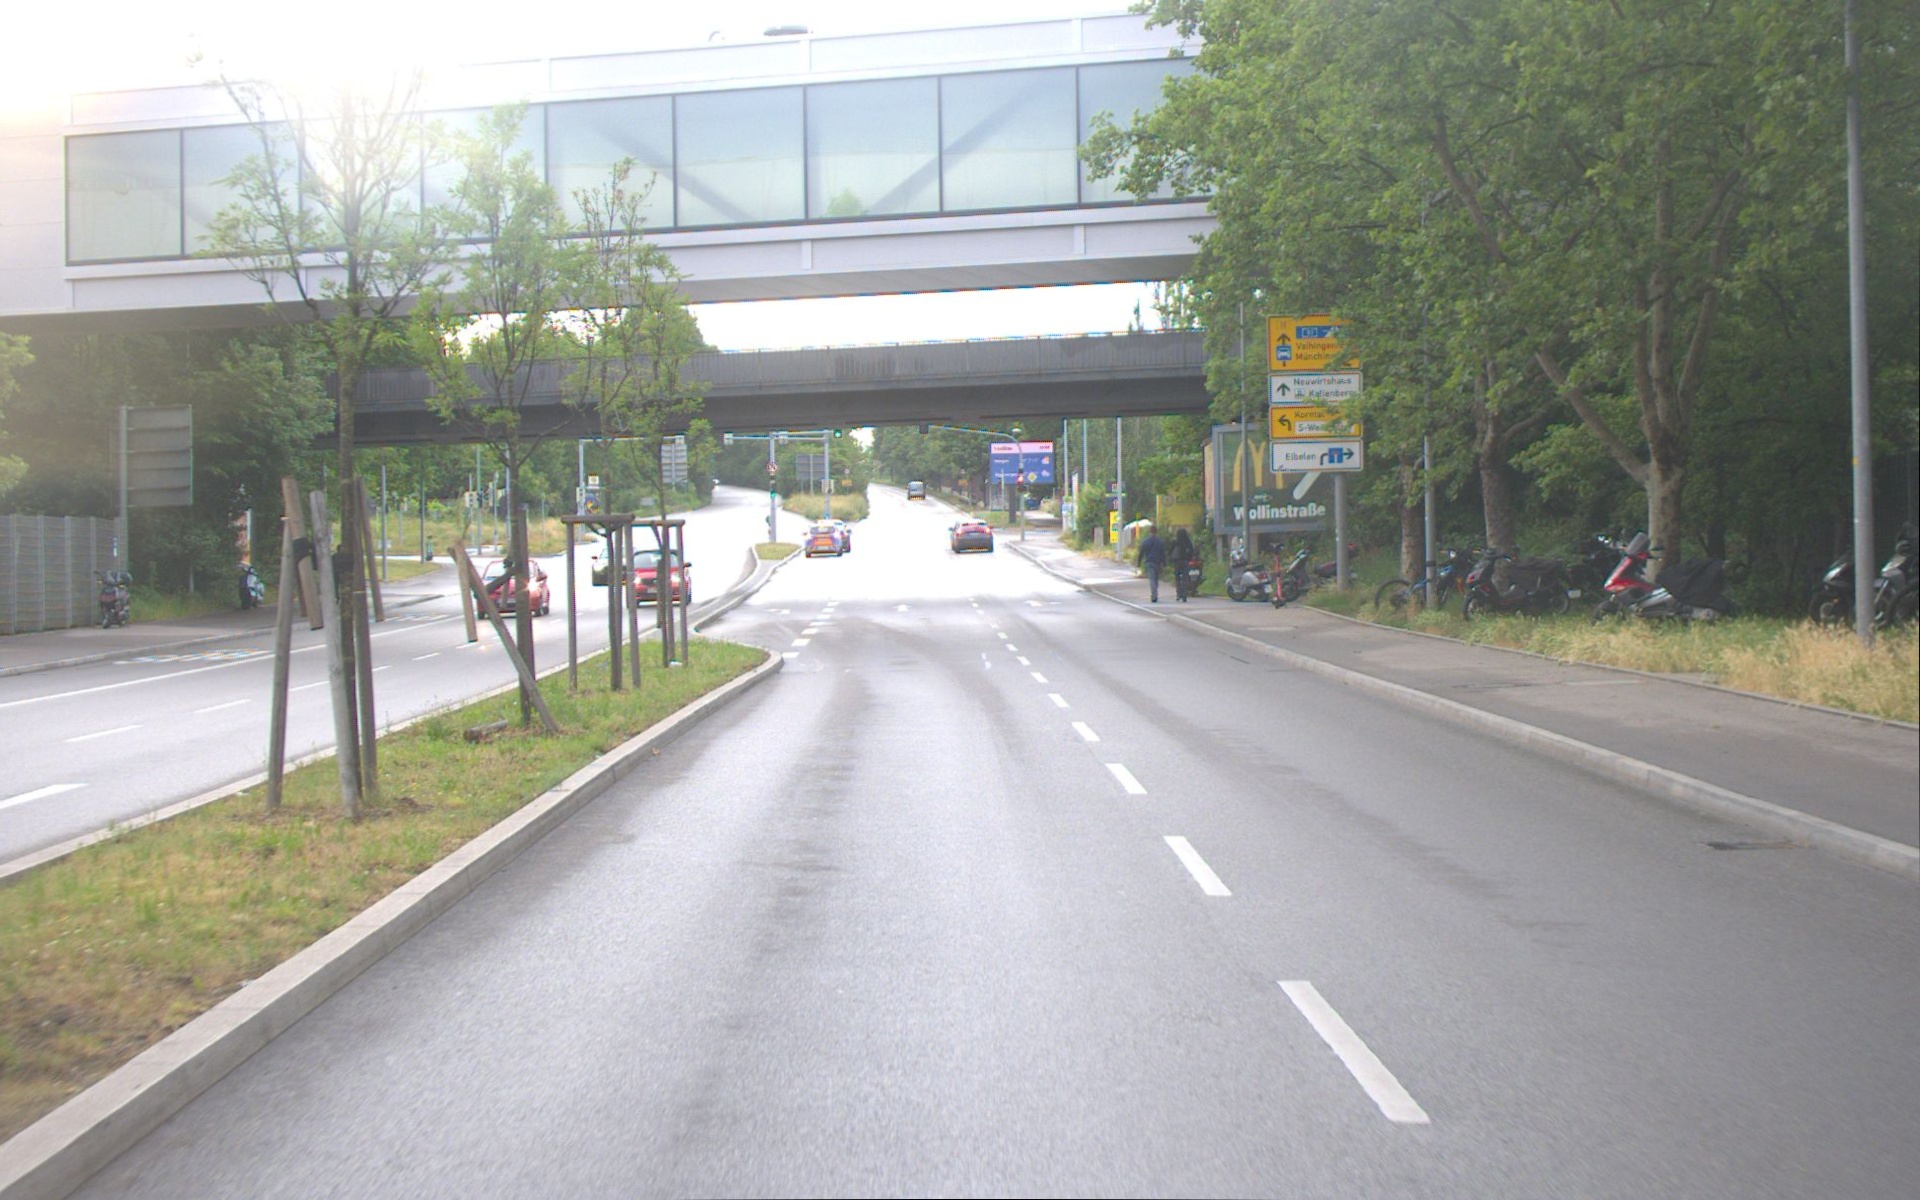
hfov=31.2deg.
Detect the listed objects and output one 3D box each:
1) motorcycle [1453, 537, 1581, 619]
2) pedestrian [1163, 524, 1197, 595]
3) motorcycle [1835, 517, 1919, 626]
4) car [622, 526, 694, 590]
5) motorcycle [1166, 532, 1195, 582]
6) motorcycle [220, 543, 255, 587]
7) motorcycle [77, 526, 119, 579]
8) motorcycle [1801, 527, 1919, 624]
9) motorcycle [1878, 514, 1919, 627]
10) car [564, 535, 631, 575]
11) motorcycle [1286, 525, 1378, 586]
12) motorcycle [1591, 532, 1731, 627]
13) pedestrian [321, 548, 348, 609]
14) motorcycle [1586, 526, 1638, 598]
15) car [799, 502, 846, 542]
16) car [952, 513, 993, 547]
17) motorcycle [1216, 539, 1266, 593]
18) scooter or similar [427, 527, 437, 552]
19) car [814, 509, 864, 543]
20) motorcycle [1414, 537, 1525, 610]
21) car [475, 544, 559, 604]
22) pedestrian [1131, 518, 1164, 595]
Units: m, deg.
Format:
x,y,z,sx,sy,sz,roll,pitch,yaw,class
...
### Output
x,y,z,sx,sy,sz,roll,pitch,yaw,class
8.501,-0.345,52.462,1.848,1.187,0.522,-2,1,-16,motorcycle
5.009,-0.929,78.209,0.651,1.590,0.578,-1,1,11,pedestrian
11.906,-0.361,43.539,1.501,1.360,0.505,1,0,28,motorcycle
-8.124,-1.132,92.841,1.585,1.600,3.856,-3,1,-1,car
5.031,-0.985,78.492,0.469,1.133,1.819,-2,1,-1,motorcycle
-20.095,-0.974,95.602,0.468,1.154,1.932,-2,2,2,motorcycle
-20.107,-1.119,80.198,0.468,1.200,1.997,-2,2,-1,motorcycle
12.167,-0.321,45.569,1.915,1.253,0.491,1,0,5,motorcycle
12.138,-0.345,41.574,1.928,1.360,0.506,1,0,-6,motorcycle
-13.048,-1.633,123.945,2.063,1.357,4.757,-2,1,-2,car
8.126,-0.975,75.196,1.942,1.293,0.546,-1,1,34,motorcycle
8.632,-0.252,42.371,1.653,1.146,0.493,1,0,7,motorcycle
-18.738,-0.649,102.997,0.520,1.809,0.799,0,1,9,pedestrian
12.008,-0.706,63.247,0.348,1.275,2.068,-1,1,27,motorcycle
-6.360,-3.586,158.608,2.076,1.712,4.199,1,0,-3,car
0.563,-3.224,158.306,1.744,1.465,4.167,-1,2,-2,car
6.328,-0.768,77.507,0.469,1.209,1.945,-2,1,-15,motorcycle
-25.688,-2.944,167.180,0.311,1.214,1.308,-1,2,-15,scooter or similar
-5.997,-3.666,170.685,2.166,1.577,4.664,1,0,1,car
9.107,-0.483,61.440,1.848,1.248,0.630,-2,1,-16,motorcycle
-11.251,-0.668,87.468,1.715,1.432,3.772,-3,1,-2,car
4.280,-1.000,78.498,0.611,1.715,0.891,-1,1,9,pedestrian
